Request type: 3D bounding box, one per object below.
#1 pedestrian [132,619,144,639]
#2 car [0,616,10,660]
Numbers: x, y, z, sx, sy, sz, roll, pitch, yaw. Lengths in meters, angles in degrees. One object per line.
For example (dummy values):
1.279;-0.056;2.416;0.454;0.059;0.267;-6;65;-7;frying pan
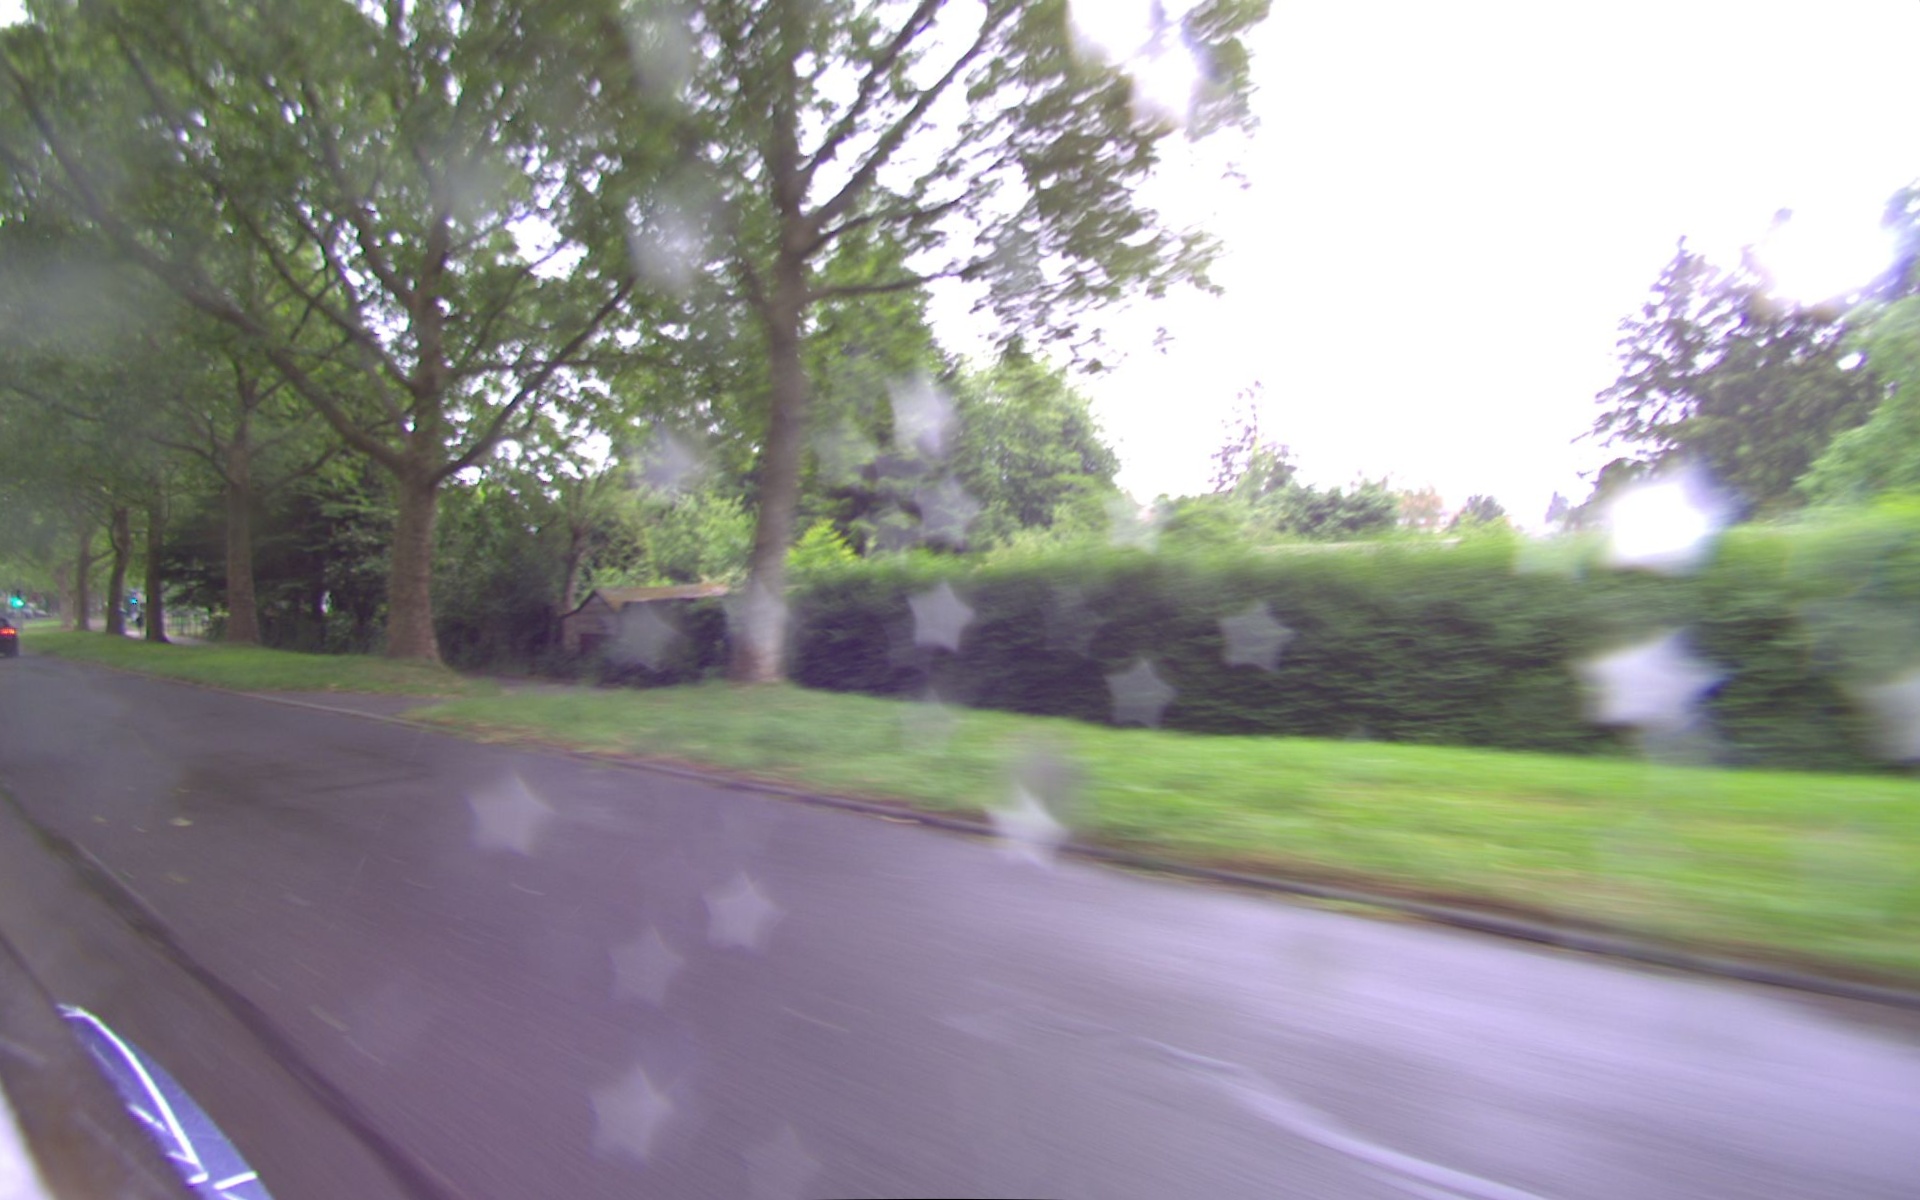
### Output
-54.879;1.945;67.577;0.510;1.271;0.850;-2;1;-44;pedestrian
-35.238;1.371;35.886;3.997;1.513;1.827;-1;1;41;car
